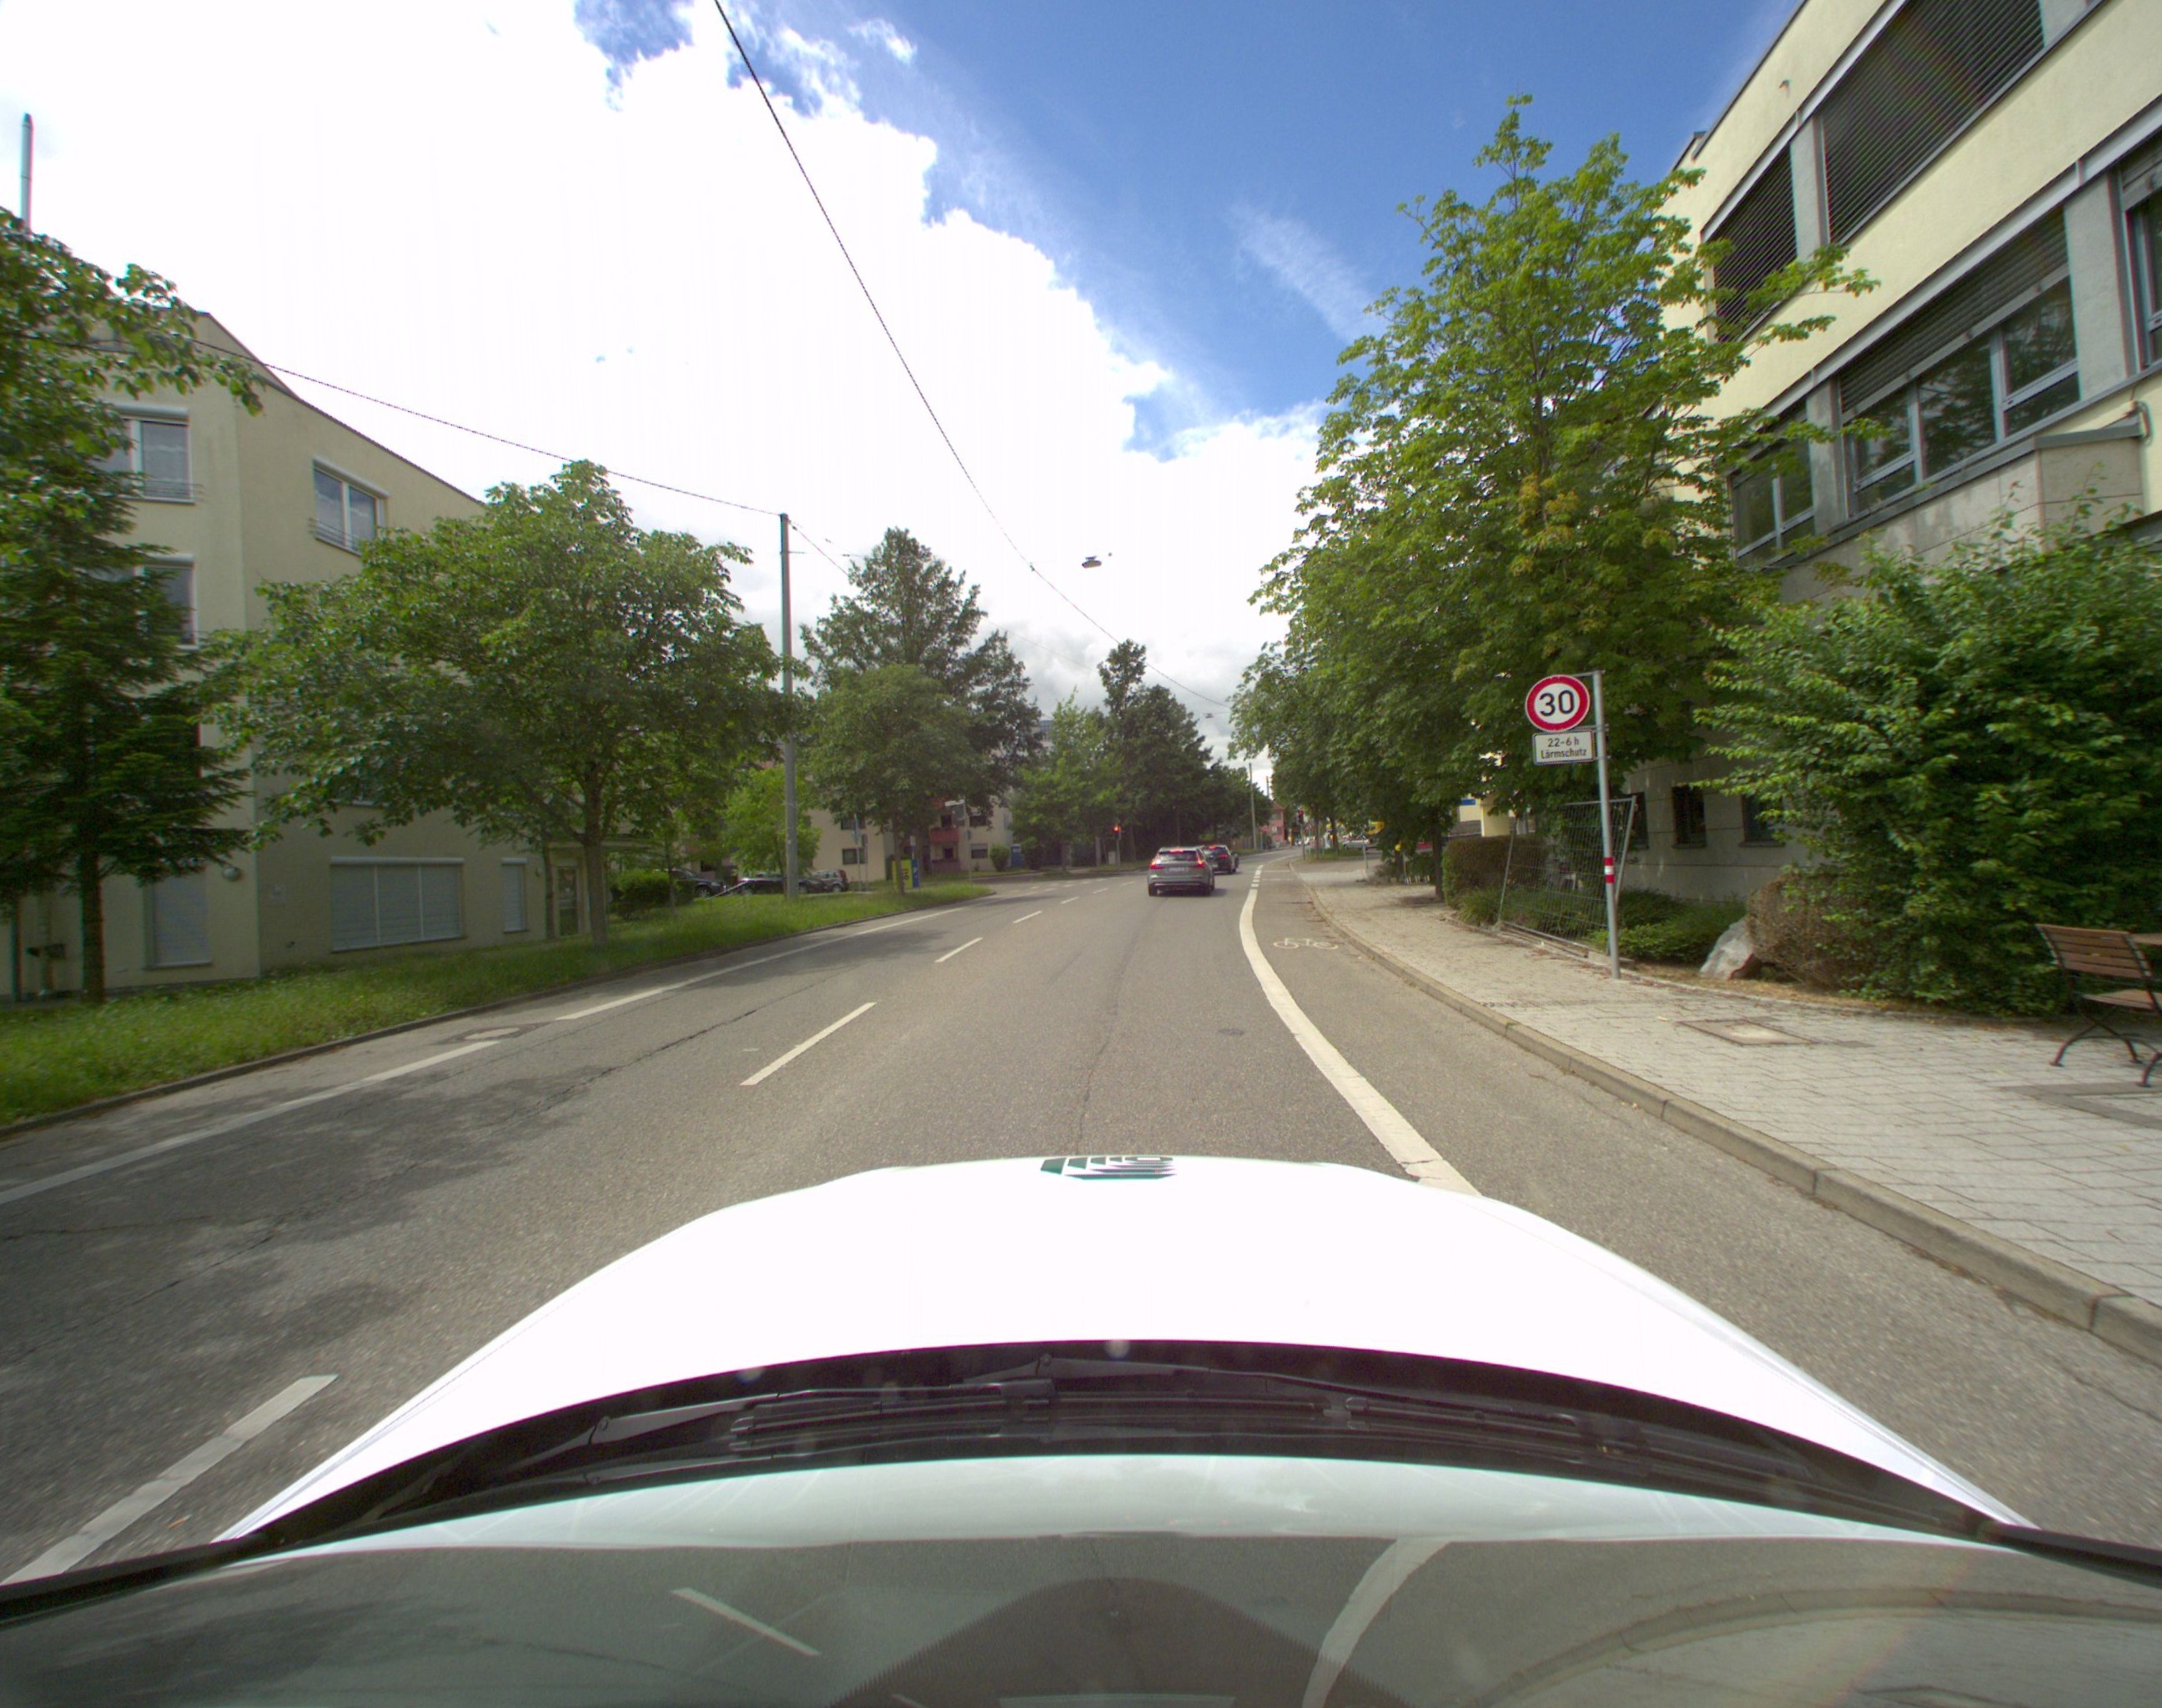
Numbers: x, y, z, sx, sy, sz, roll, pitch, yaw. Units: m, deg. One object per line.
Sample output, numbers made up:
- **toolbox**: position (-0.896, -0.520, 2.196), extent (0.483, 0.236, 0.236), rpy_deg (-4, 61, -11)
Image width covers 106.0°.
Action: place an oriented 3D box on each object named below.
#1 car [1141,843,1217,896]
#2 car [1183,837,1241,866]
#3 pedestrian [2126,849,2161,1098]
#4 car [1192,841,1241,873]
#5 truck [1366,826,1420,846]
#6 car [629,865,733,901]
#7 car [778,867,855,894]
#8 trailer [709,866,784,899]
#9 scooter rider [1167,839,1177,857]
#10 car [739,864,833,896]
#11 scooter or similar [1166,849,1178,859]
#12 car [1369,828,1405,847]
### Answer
- **car**: position (3.203, 0.413, 25.773), extent (1.942, 1.523, 4.345), rpy_deg (0, 1, 13)
- **car**: position (7.918, -0.129, 48.771), extent (1.787, 1.616, 4.356), rpy_deg (0, 0, 34)
- **pedestrian**: position (5.996, 0.624, 4.081), extent (0.683, 1.316, 0.581), rpy_deg (-2, -1, 17)
- **car**: position (6.792, 0.101, 40.435), extent (1.790, 1.523, 4.349), rpy_deg (0, 1, 18)
- **truck**: position (34.192, -1.985, 89.278), extent (5.622, 2.014, 2.072), rpy_deg (-2, -1, -24)
- **car**: position (-19.981, 1.423, 40.816), extent (4.162, 1.523, 1.901), rpy_deg (-3, 0, 0)
- **car**: position (-16.171, 1.637, 49.855), extent (4.064, 1.400, 1.794), rpy_deg (-2, -4, 0)
- **trailer**: position (-20.458, 1.765, 49.862), extent (3.896, 1.799, 1.629), rpy_deg (-2, -4, -2)
- **scooter rider**: position (8.944, -0.629, 80.184), extent (0.709, 1.727, 0.674), rpy_deg (-2, -1, -26)
- **car**: position (-14.799, 1.334, 40.983), extent (4.064, 1.400, 1.794), rpy_deg (-2, -4, 0)
- **scooter or similar**: position (8.965, -0.018, 80.178), extent (0.958, 0.962, 0.684), rpy_deg (-3, -1, -27)
- **car**: position (35.461, -1.898, 94.383), extent (3.777, 2.014, 1.727), rpy_deg (-2, -1, -28)
